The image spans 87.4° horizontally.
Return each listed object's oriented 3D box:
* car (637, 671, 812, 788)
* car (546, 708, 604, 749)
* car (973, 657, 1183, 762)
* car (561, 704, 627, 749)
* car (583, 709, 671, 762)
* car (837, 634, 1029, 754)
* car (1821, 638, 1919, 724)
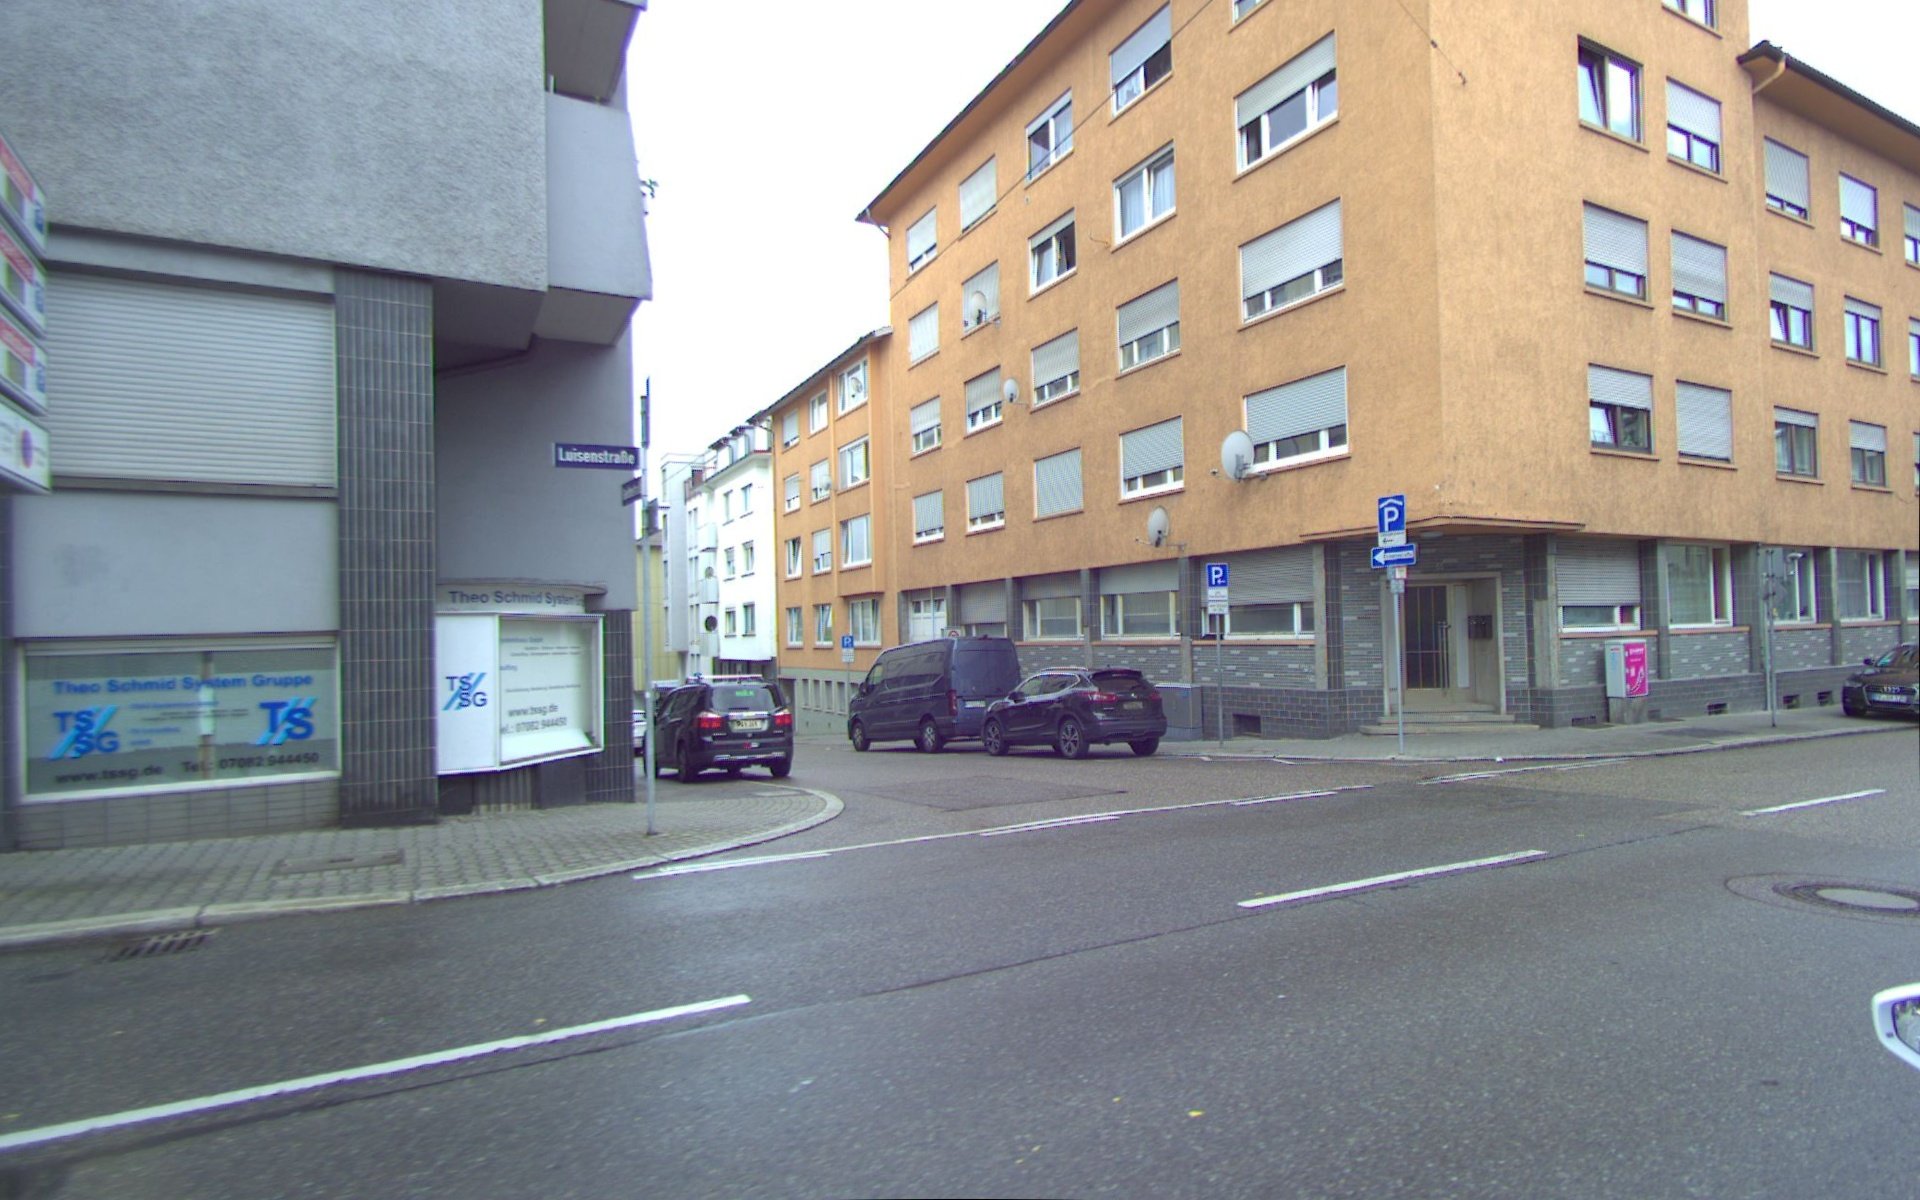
[{"bbox_3d":[-4.243,2.225,17.593,1.907,1.739,3.971,0,-6,-30],"label":"car"},{"bbox_3d":[-15.788,5.240,41.110,1.694,1.478,3.534,0,-6,-30],"label":"car"},{"bbox_3d":[2.052,2.029,18.658,1.906,1.673,3.974,0,-6,-28],"label":"car"},{"bbox_3d":[-13.570,4.659,37.120,1.694,1.478,3.534,0,-6,-30],"label":"car"},{"bbox_3d":[-10.710,4.295,32.153,1.907,1.478,3.971,0,-6,-30],"label":"car"},{"bbox_3d":[-0.806,2.267,23.804,1.962,2.490,5.313,1,-6,-34],"label":"car"},{"bbox_3d":[19.201,1.551,19.944,4.496,1.478,1.882,0,-1,-31],"label":"car"}]
